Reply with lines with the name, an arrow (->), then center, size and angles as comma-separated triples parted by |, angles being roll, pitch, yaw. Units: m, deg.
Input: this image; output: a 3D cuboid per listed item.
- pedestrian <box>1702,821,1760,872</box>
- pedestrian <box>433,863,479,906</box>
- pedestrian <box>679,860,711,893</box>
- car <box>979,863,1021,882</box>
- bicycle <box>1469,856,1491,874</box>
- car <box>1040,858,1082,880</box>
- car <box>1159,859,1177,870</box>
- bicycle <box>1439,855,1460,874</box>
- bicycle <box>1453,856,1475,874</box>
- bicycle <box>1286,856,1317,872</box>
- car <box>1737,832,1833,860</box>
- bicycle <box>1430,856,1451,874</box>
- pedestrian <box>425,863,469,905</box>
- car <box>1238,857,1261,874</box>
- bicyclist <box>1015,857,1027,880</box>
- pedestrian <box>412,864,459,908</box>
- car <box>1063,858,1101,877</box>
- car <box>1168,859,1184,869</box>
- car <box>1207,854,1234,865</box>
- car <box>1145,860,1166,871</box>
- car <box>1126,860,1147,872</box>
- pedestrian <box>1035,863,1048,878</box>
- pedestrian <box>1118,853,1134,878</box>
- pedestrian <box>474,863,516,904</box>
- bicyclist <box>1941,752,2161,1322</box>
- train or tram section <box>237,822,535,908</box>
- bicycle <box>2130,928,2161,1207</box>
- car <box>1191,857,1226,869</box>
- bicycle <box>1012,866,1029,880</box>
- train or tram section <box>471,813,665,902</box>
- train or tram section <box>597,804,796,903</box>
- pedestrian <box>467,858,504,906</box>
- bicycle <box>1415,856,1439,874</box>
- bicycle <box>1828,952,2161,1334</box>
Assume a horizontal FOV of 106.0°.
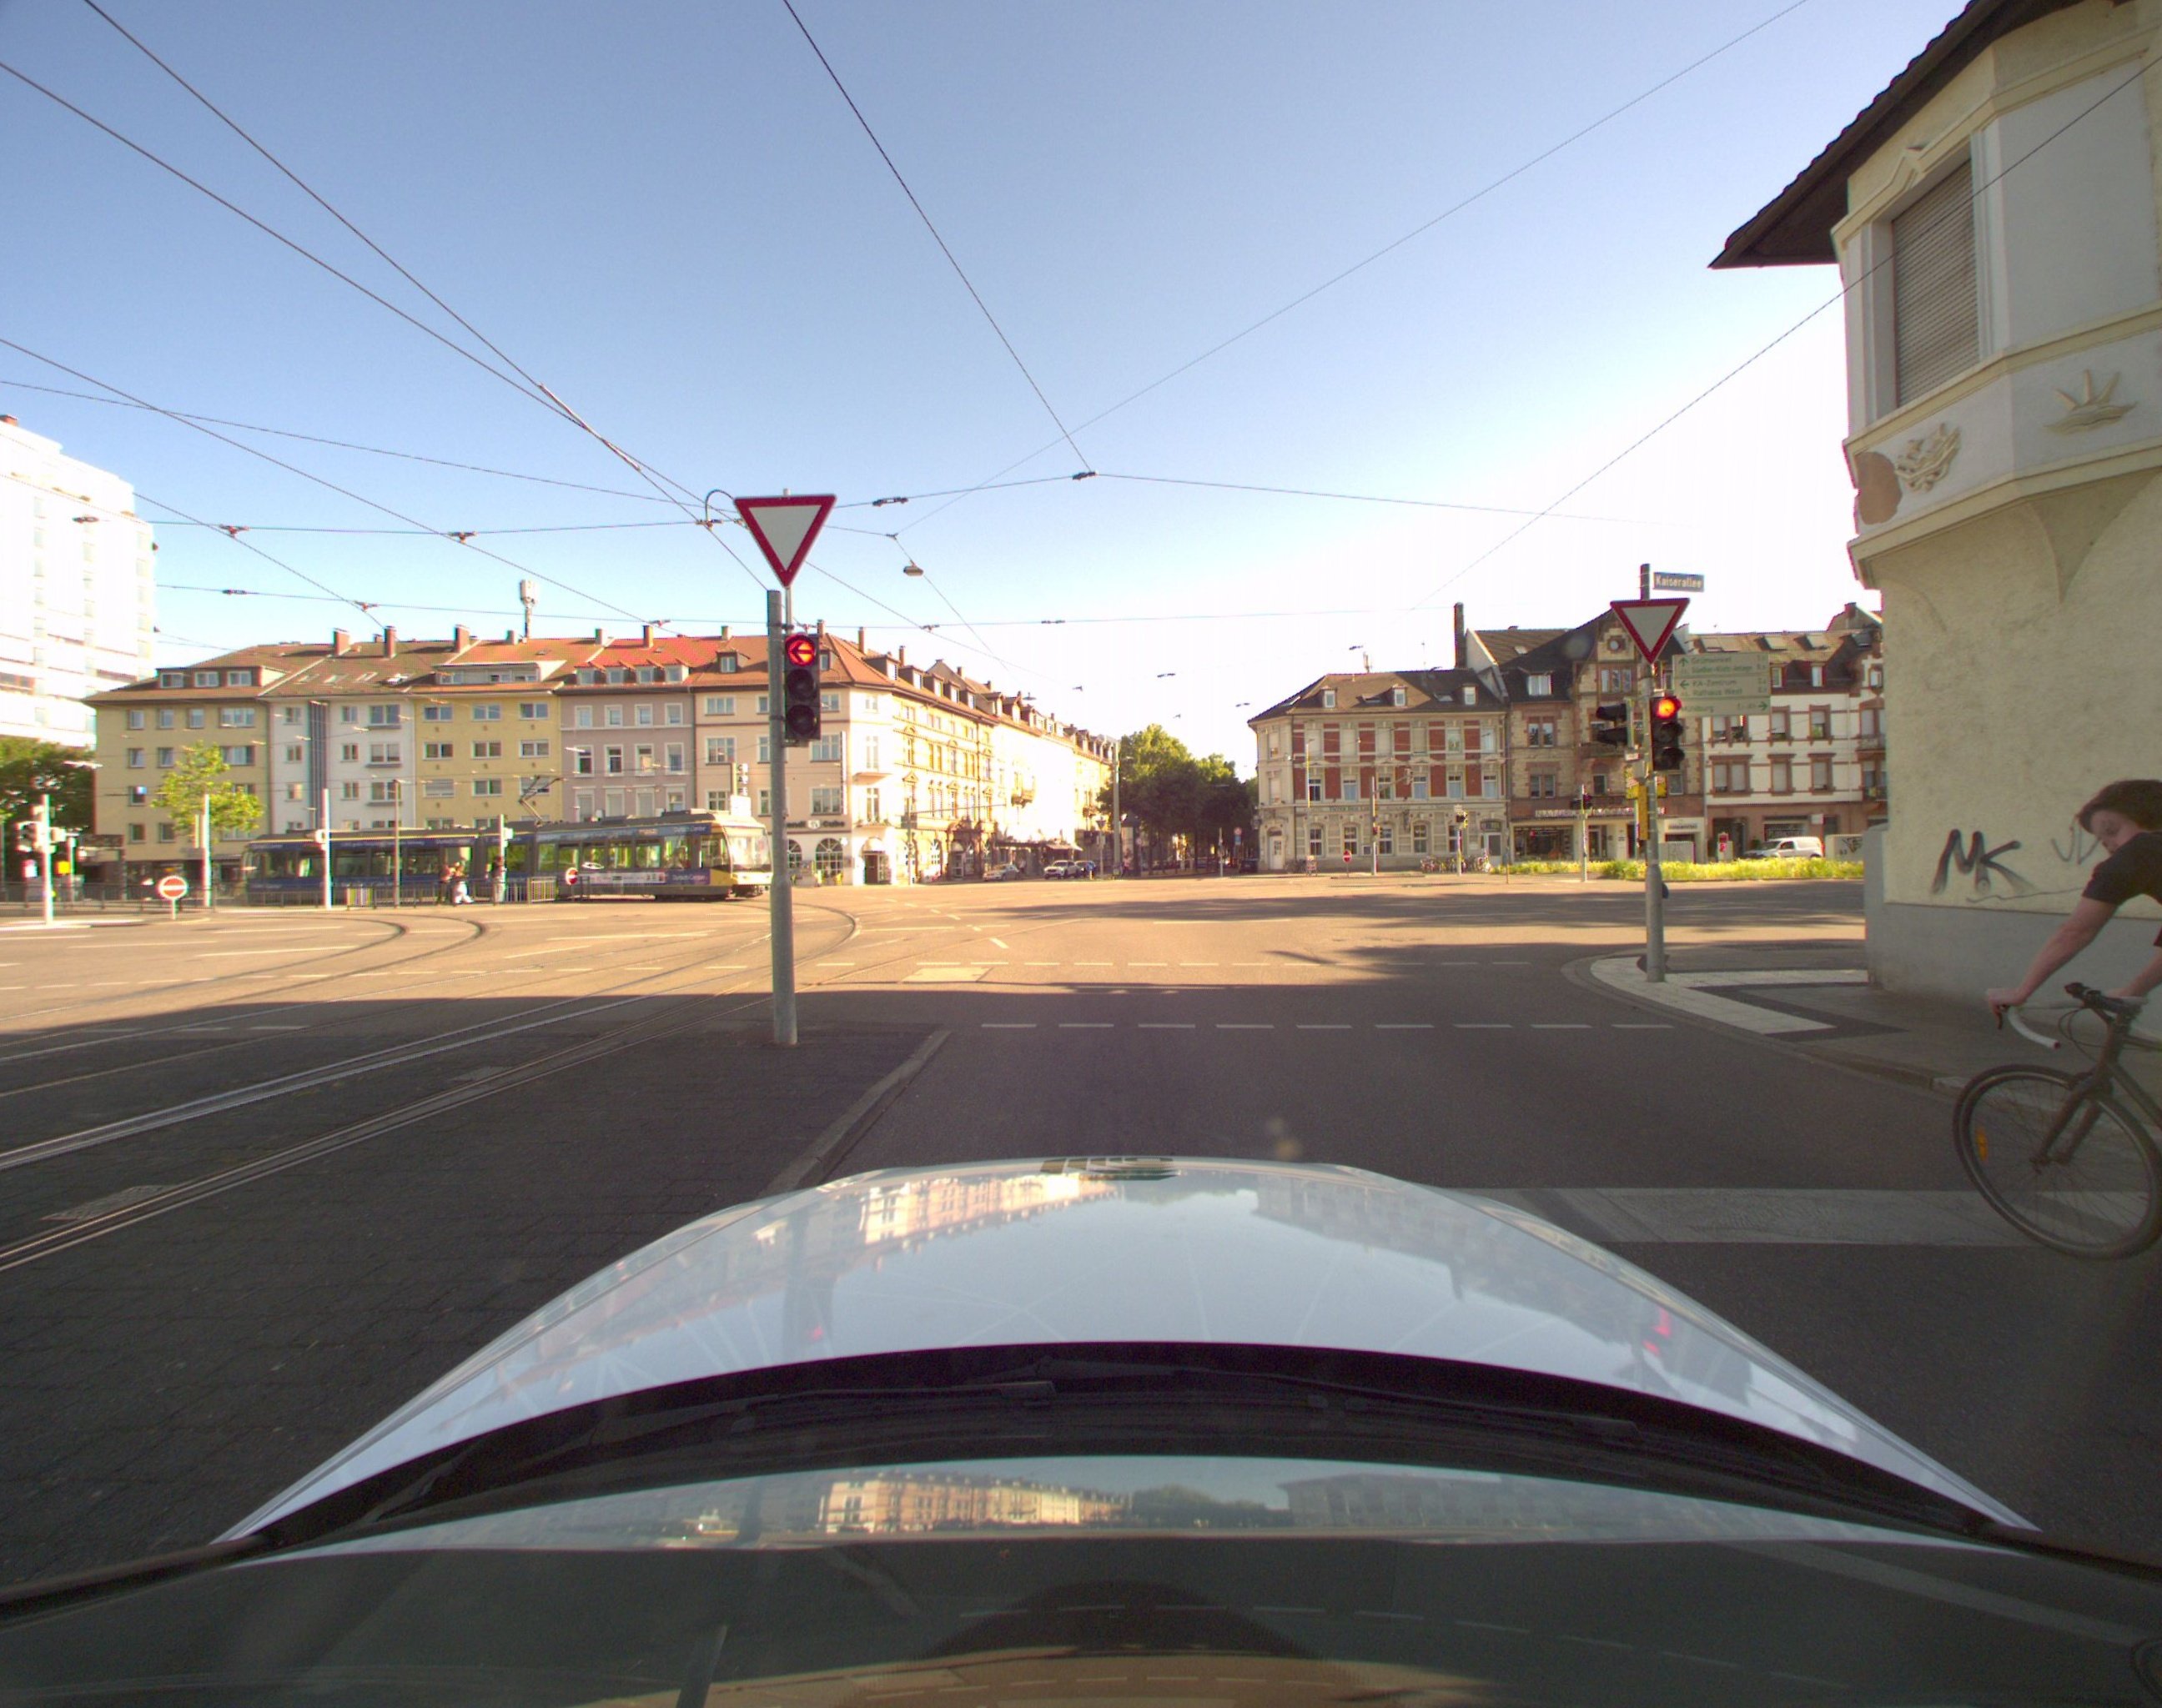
pedestrian -> 27.112, -0.311, 33.986 | 1.314, 2.044, 1.307 | -2, 0, 1
pedestrian -> -24.323, 1.166, 31.705 | 0.933, 1.598, 1.012 | -2, 0, 8
pedestrian -> -20.129, 1.153, 42.455 | 1.076, 1.685, 1.104 | -2, 0, 1
car -> -6.680, 1.520, 67.371 | 1.883, 1.455, 4.020 | -2, 0, 20
bicycle -> 25.756, 0.685, 52.586 | 0.606, 1.136, 2.139 | -2, 0, 7
car -> -1.605, 1.249, 67.528 | 1.977, 1.684, 4.413 | -2, 0, 20
car -> 13.923, 1.696, 130.320 | 1.822, 1.552, 4.412 | -2, 0, 19
bicycle -> 23.858, 0.668, 52.771 | 0.615, 1.143, 2.178 | -2, 0, 7
bicycle -> 24.779, 0.706, 52.676 | 0.615, 1.143, 2.178 | -2, 0, 7
bicycle -> 15.501, 0.720, 57.177 | 2.081, 1.124, 0.366 | 0, -1, -3
car -> 45.359, -0.487, 52.539 | 4.317, 1.640, 2.152 | -2, 0, 1
bicycle -> 23.279, 0.687, 52.824 | 0.615, 1.143, 2.178 | -2, 0, 7
pedestrian -> -25.305, 1.183, 32.507 | 0.998, 1.598, 0.946 | -2, 0, 18
car -> 17.020, 1.136, 82.203 | 1.978, 1.585, 4.017 | -2, 0, 16
bicyclist -> -4.810, 1.130, 65.328 | 0.674, 1.820, 1.075 | -2, 0, 14
pedestrian -> -24.289, 1.192, 30.648 | 0.931, 1.598, 1.013 | -2, 0, 14
car -> 0.120, 1.216, 74.005 | 1.977, 1.612, 4.413 | -2, 0, 20
car -> 15.841, 1.715, 136.155 | 1.750, 1.549, 4.411 | -2, 0, 18
car -> 22.841, 0.964, 133.289 | 3.948, 1.706, 2.013 | -2, 0, 32
car -> 11.264, 1.727, 122.588 | 1.977, 1.612, 4.413 | -2, 0, 20
car -> 7.541, 1.664, 110.969 | 1.978, 1.486, 4.017 | -1, 0, 16
pedestrian -> -4.103, 1.719, 84.603 | 0.921, 1.535, 1.142 | -2, 0, 16
pedestrian -> 3.226, 0.800, 58.646 | 1.040, 1.744, 0.810 | -1, 0, 8
pedestrian -> -23.241, 1.166, 32.296 | 0.997, 1.598, 0.946 | -2, 0, 23
bicyclist -> 3.594, 0.560, 2.582 | 0.559, 1.754, 1.102 | -2, 0, 4
train or tram section -> -31.703, 0.517, 37.326 | 11.930, 3.500, 2.784 | -1, 0, 5
bicycle -> 4.530, 0.857, 2.433 | 0.516, 1.116, 1.815 | -2, 0, 4
car -> 18.026, 1.304, 115.207 | 4.335, 1.612, 2.012 | -2, 0, 28
bicycle -> -4.814, 1.510, 65.285 | 0.675, 1.066, 2.133 | -2, 0, 14
train or tram section -> -22.285, 0.216, 35.324 | 8.358, 3.500, 2.840 | -1, 0, 24
train or tram section -> -15.134, 0.039, 31.885 | 7.861, 3.500, 2.841 | -1, 0, 28
pedestrian -> -22.649, 1.053, 30.992 | 0.943, 1.775, 1.001 | -1, 0, -26
bicycle -> 22.501, 0.697, 52.973 | 0.802, 1.143, 2.178 | -2, 0, 7
bicycle -> 3.609, 0.947, 2.659 | 0.642, 1.010, 1.930 | -2, 0, 4
